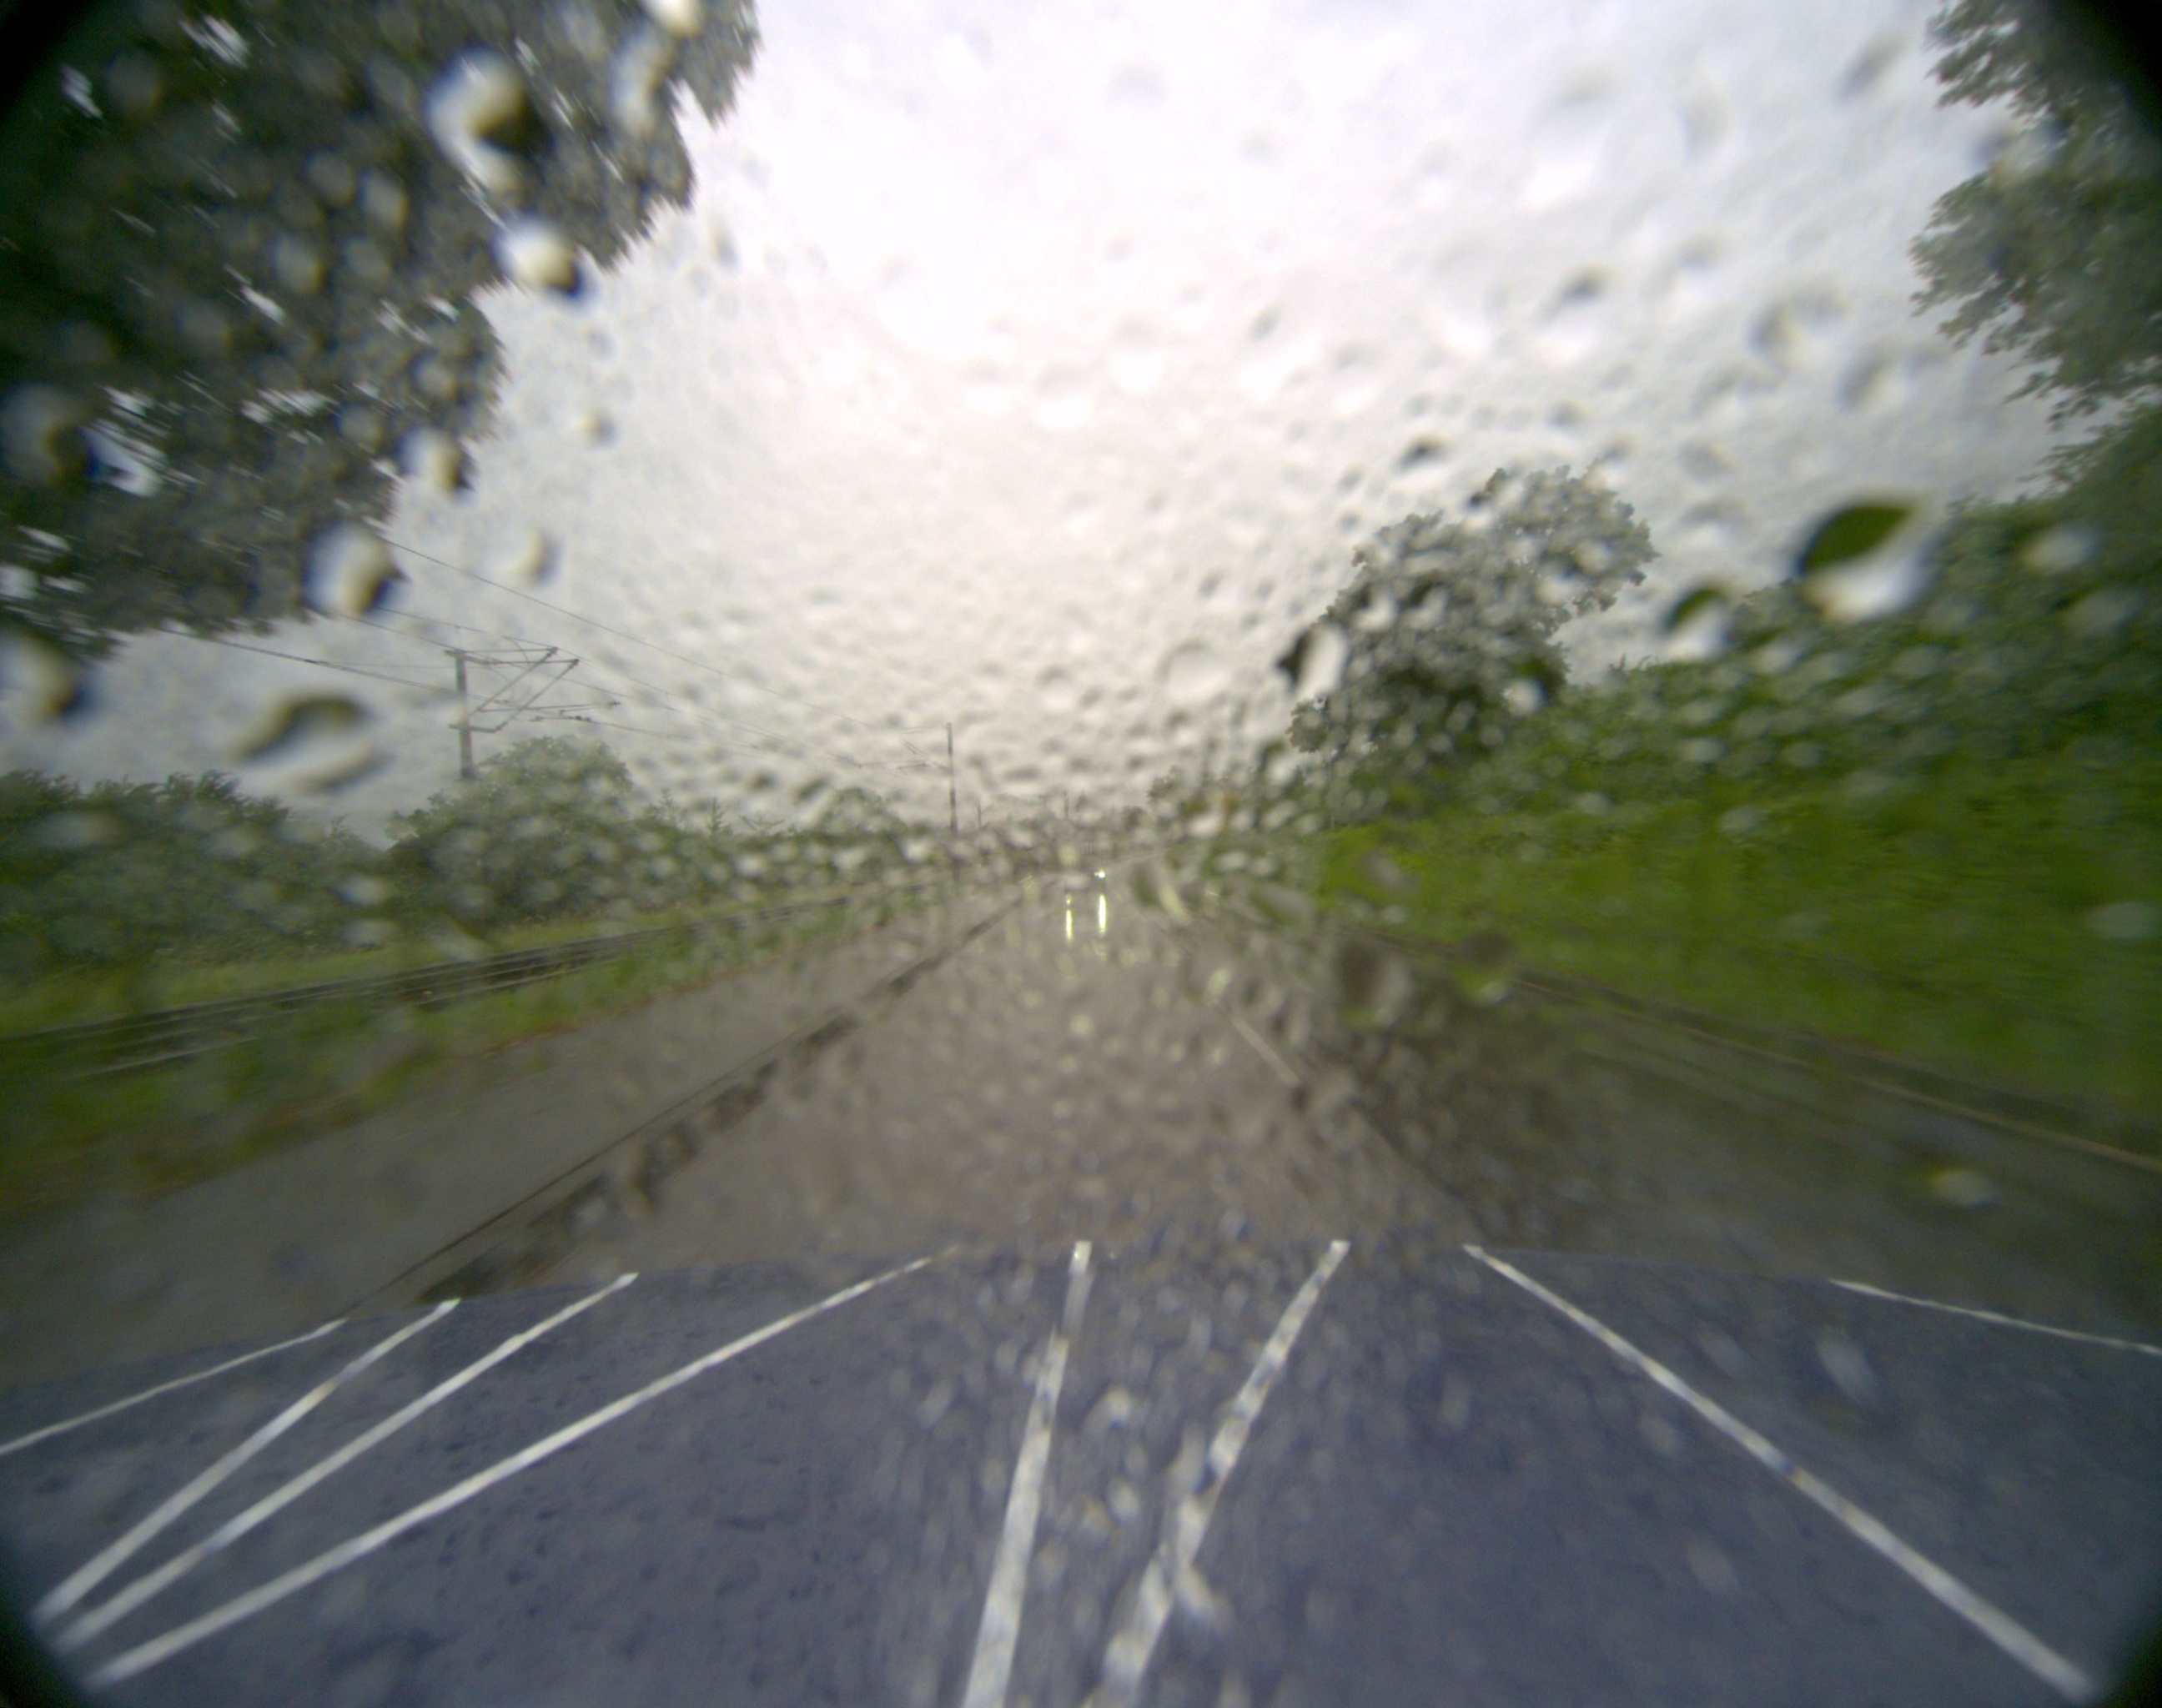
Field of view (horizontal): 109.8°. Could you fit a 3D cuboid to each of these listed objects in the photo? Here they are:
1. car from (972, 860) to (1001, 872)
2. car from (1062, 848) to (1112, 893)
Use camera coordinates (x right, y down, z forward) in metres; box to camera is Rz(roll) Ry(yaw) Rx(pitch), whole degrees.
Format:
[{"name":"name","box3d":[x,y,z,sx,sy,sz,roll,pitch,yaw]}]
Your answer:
[{"name":"car","box3d":[-15.421,1.926,123.540,4.186,1.629,1.880,-2,3,22]},{"name":"car","box3d":[0.329,0.669,33.882,1.998,1.623,3.998,-3,3,3]}]
